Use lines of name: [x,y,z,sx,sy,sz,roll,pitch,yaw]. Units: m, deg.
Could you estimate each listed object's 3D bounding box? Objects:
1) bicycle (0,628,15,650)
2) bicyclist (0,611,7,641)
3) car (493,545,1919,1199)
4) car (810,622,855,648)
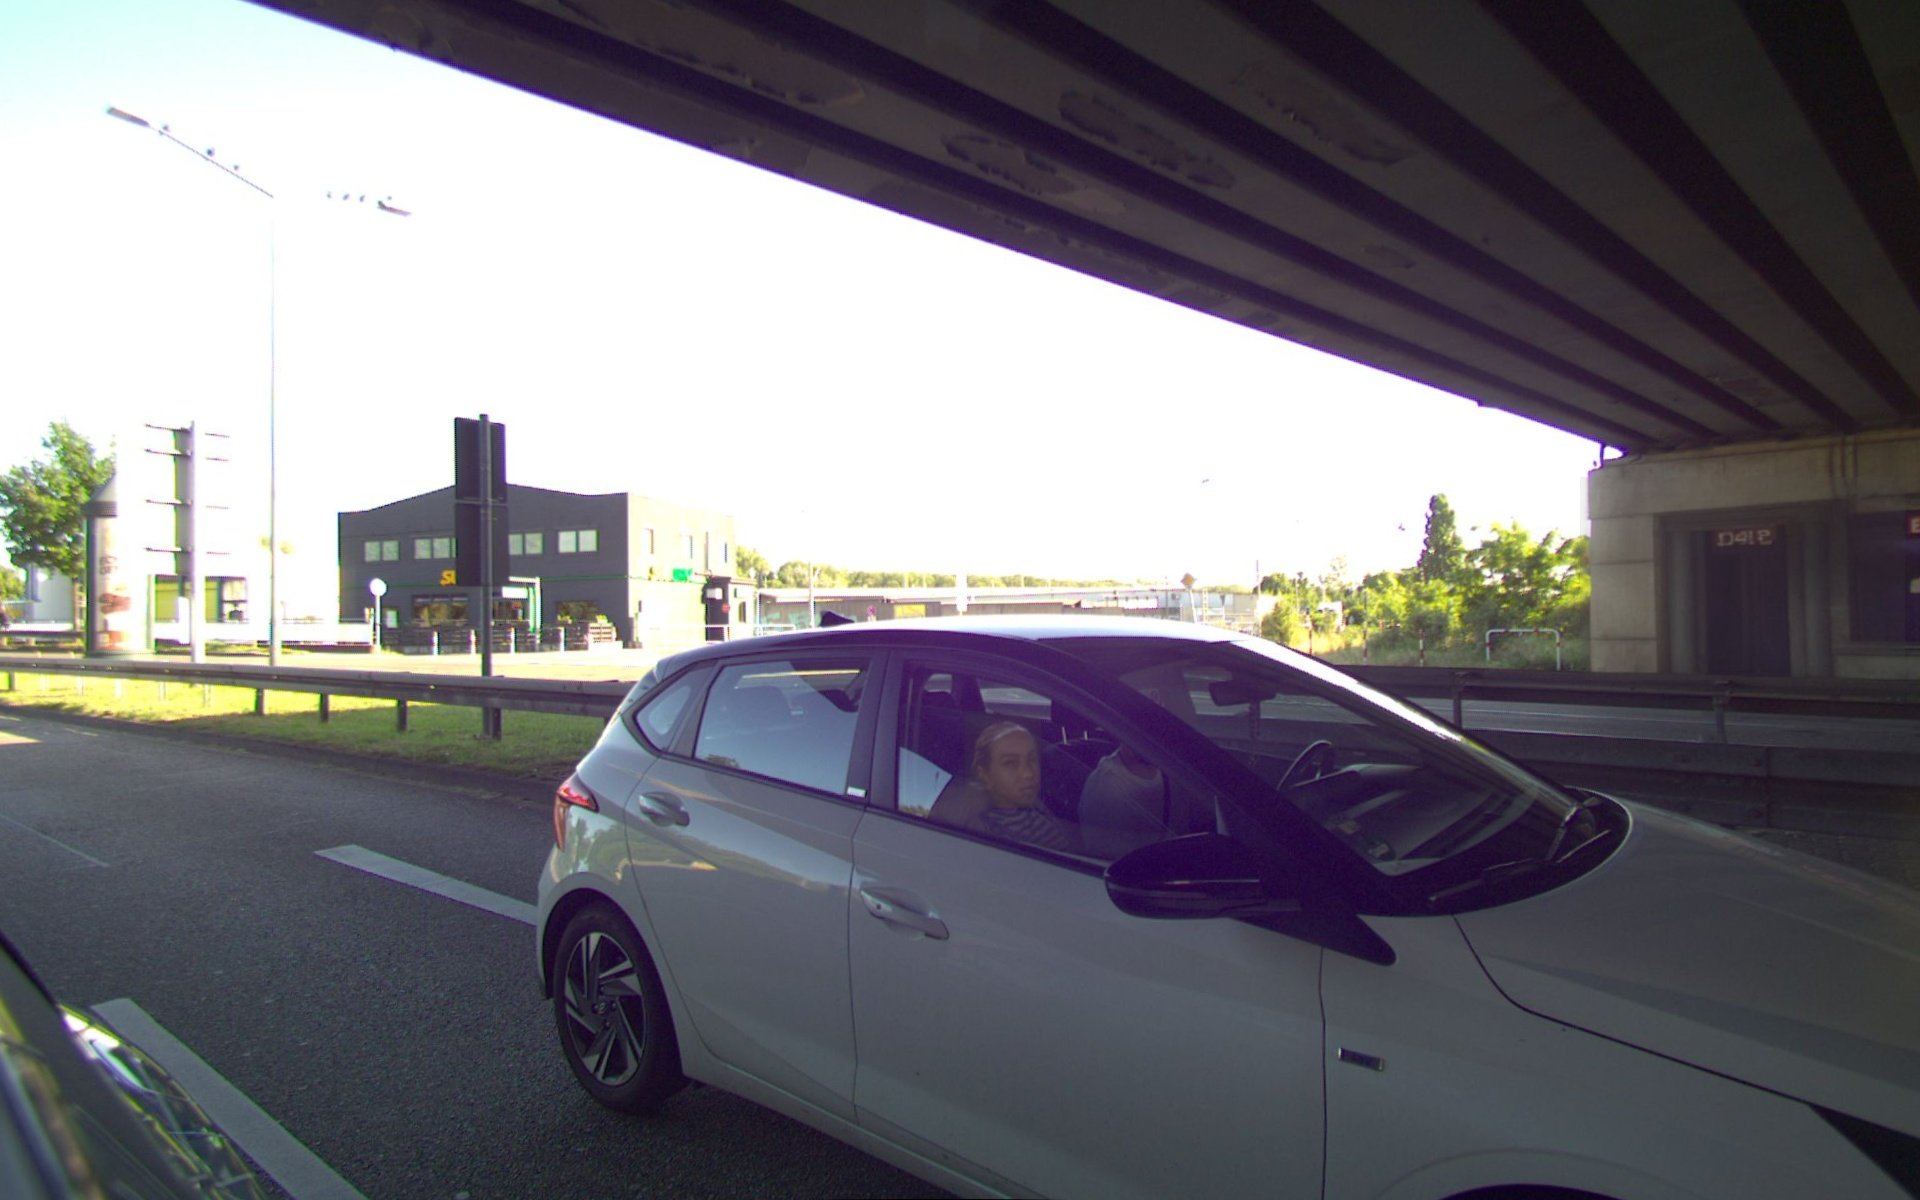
bicycle: [-46.268,1.852,48.469,1.733,1.031,0.591,-1,0,13]
bicyclist: [-46.250,1.252,48.465,0.701,1.438,0.591,-1,0,13]
car: [0.553,0.714,2.666,3.987,1.491,1.716,-1,-1,40]
car: [-6.881,1.928,54.957,1.806,1.291,4.180,1,-3,1]
